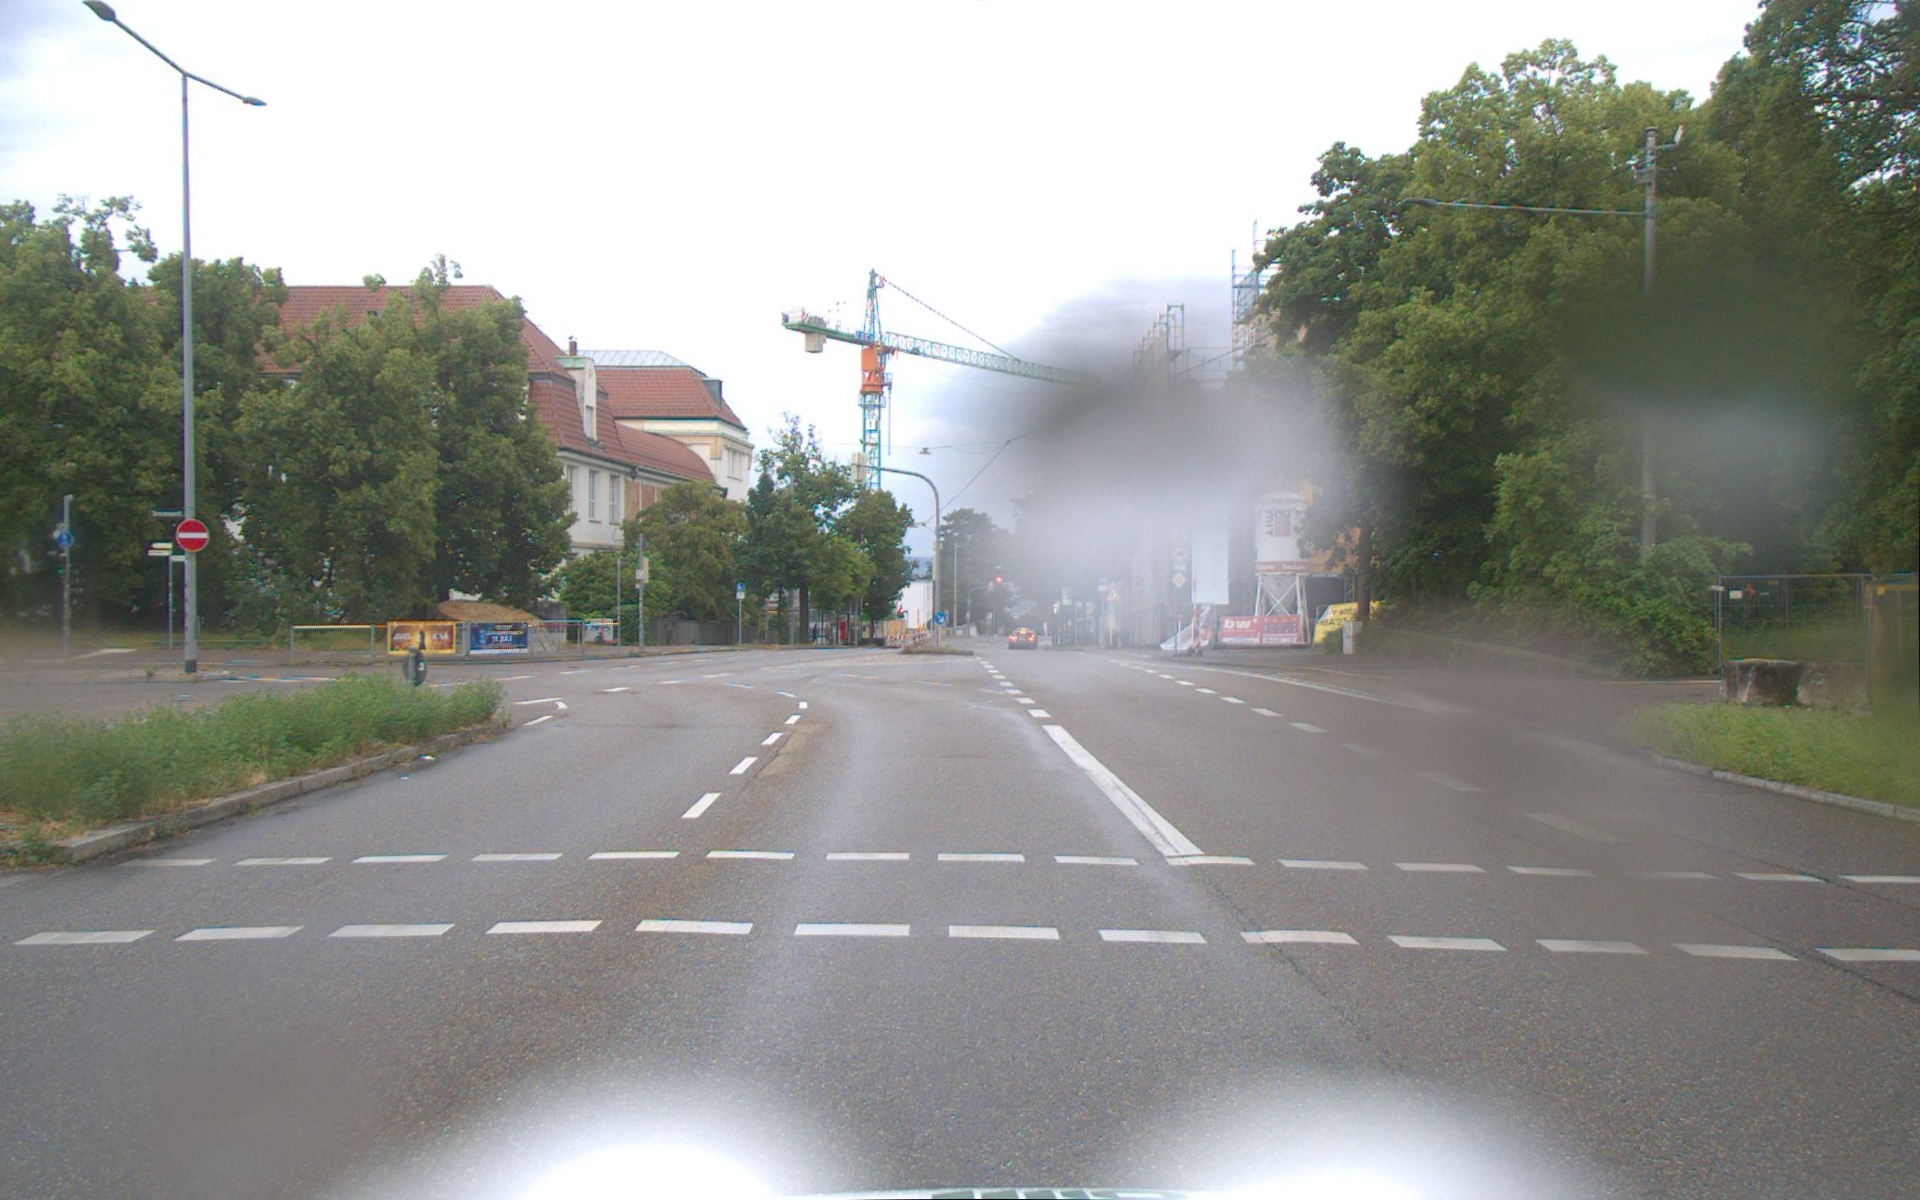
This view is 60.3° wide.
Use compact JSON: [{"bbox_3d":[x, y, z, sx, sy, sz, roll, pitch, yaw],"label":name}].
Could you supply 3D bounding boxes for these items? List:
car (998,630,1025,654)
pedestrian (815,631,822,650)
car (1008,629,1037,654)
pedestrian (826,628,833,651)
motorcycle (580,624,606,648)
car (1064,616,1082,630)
[{"bbox_3d":[4.055,3.310,131.298,1.953,1.780,3.999,-1,0,-1],"label":"car"},{"bbox_3d":[-10.476,2.995,122.479,0.465,1.421,0.411,-1,0,-1],"label":"pedestrian"},{"bbox_3d":[4.679,3.095,124.997,1.953,1.780,3.999,-1,0,-1],"label":"car"},{"bbox_3d":[-9.689,2.925,122.513,0.484,1.674,0.533,1,-1,-7],"label":"pedestrian"},{"bbox_3d":[-14.285,1.392,64.362,0.832,0.893,0.877,1,0,-1],"label":"motorcycle"},{"bbox_3d":[15.020,3.096,219.505,1.951,1.780,4.003,-1,0,10],"label":"car"}]
